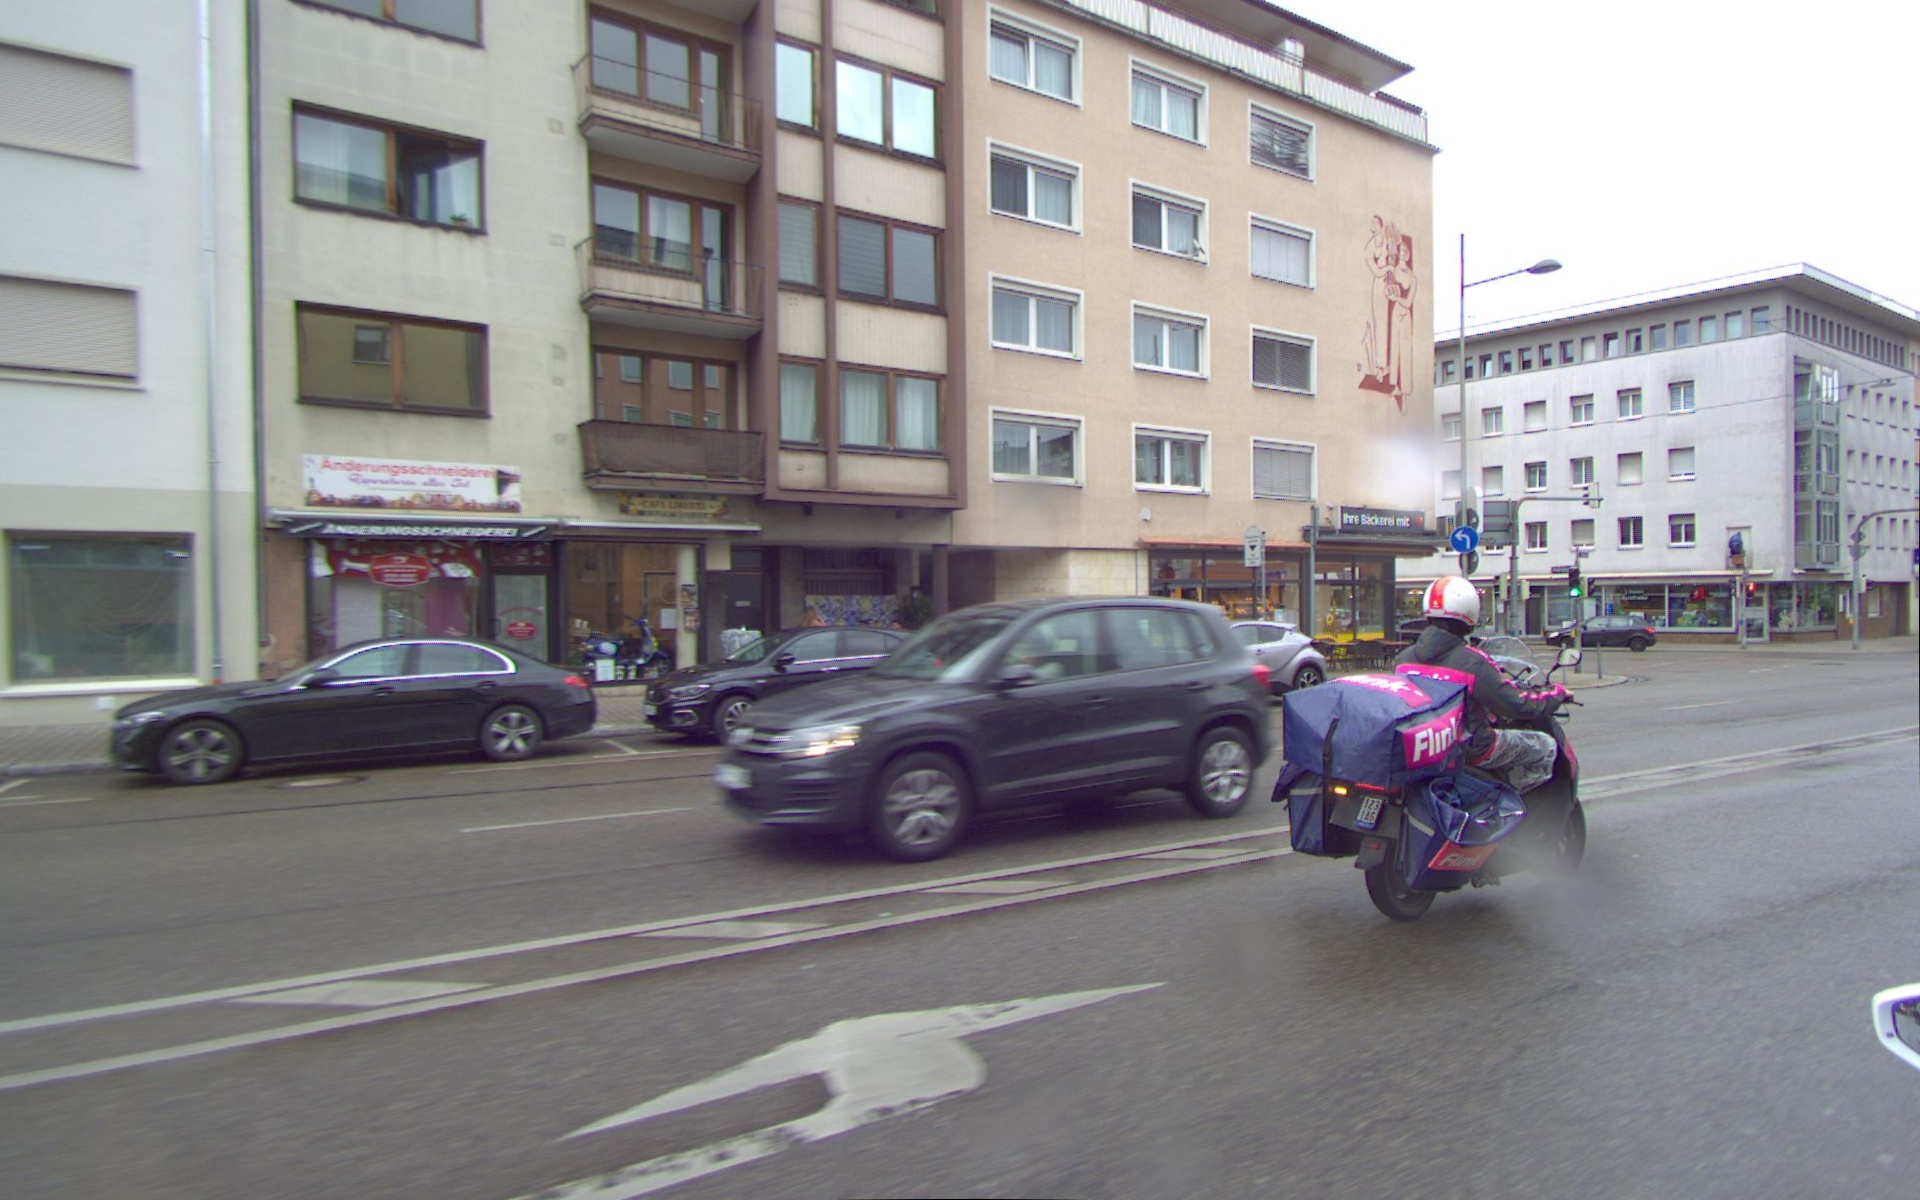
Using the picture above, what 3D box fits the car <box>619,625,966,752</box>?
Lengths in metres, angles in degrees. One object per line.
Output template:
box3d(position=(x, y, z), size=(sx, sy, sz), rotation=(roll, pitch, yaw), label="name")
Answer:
box3d(position=(-2.299, 1.128, 14.239), size=(4.472, 1.496, 1.981), rotation=(0, -2, -34), label="car")

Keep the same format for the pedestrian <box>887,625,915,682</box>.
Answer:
box3d(position=(-1.249, 1.120, 21.237), size=(0.583, 1.163, 0.674), rotation=(0, 0, -4), label="pedestrian")

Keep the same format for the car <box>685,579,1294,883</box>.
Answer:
box3d(position=(0.312, 0.764, 7.443), size=(4.206, 1.669, 1.852), rotation=(0, -2, -32), label="car")

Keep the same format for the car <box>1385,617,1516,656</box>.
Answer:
box3d(position=(19.620, 1.432, 40.330), size=(2.029, 1.394, 4.290), rotation=(-2, 1, -39), label="car")

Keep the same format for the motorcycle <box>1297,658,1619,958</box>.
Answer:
box3d(position=(2.637, 0.949, 5.199), size=(2.082, 1.207, 0.583), rotation=(0, 1, -36), label="motorcycle")

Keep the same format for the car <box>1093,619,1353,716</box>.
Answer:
box3d(position=(4.816, 1.148, 18.273), size=(4.575, 1.574, 1.899), rotation=(1, -2, -30), label="car")

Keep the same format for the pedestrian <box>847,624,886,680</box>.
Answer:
box3d(position=(-1.991, 1.097, 21.334), size=(0.625, 1.163, 0.605), rotation=(0, 0, -31), label="pedestrian")

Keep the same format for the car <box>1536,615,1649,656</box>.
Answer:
box3d(position=(26.646, 1.493, 42.380), size=(3.933, 1.648, 1.693), rotation=(-2, -2, 34), label="car")

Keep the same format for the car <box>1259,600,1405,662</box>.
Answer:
box3d(position=(13.874, 1.159, 37.720), size=(2.027, 2.130, 4.818), rotation=(3, -2, -36), label="car")

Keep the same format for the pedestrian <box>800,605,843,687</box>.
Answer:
box3d(position=(-2.749, 0.894, 19.957), size=(0.665, 1.604, 0.537), rotation=(0, 0, -45), label="pedestrian")

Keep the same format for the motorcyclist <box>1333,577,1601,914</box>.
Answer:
box3d(position=(2.576, 0.650, 5.137), size=(0.856, 1.513, 0.908), rotation=(0, 1, -36), label="motorcyclist")

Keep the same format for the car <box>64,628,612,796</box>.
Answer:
box3d(position=(-6.721, 1.106, 11.424), size=(4.927, 1.496, 1.871), rotation=(0, -2, -34), label="car")

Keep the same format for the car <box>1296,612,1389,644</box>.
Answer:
box3d(position=(20.650, 1.520, 54.366), size=(2.033, 1.653, 4.284), rotation=(0, -1, -44), label="car")
